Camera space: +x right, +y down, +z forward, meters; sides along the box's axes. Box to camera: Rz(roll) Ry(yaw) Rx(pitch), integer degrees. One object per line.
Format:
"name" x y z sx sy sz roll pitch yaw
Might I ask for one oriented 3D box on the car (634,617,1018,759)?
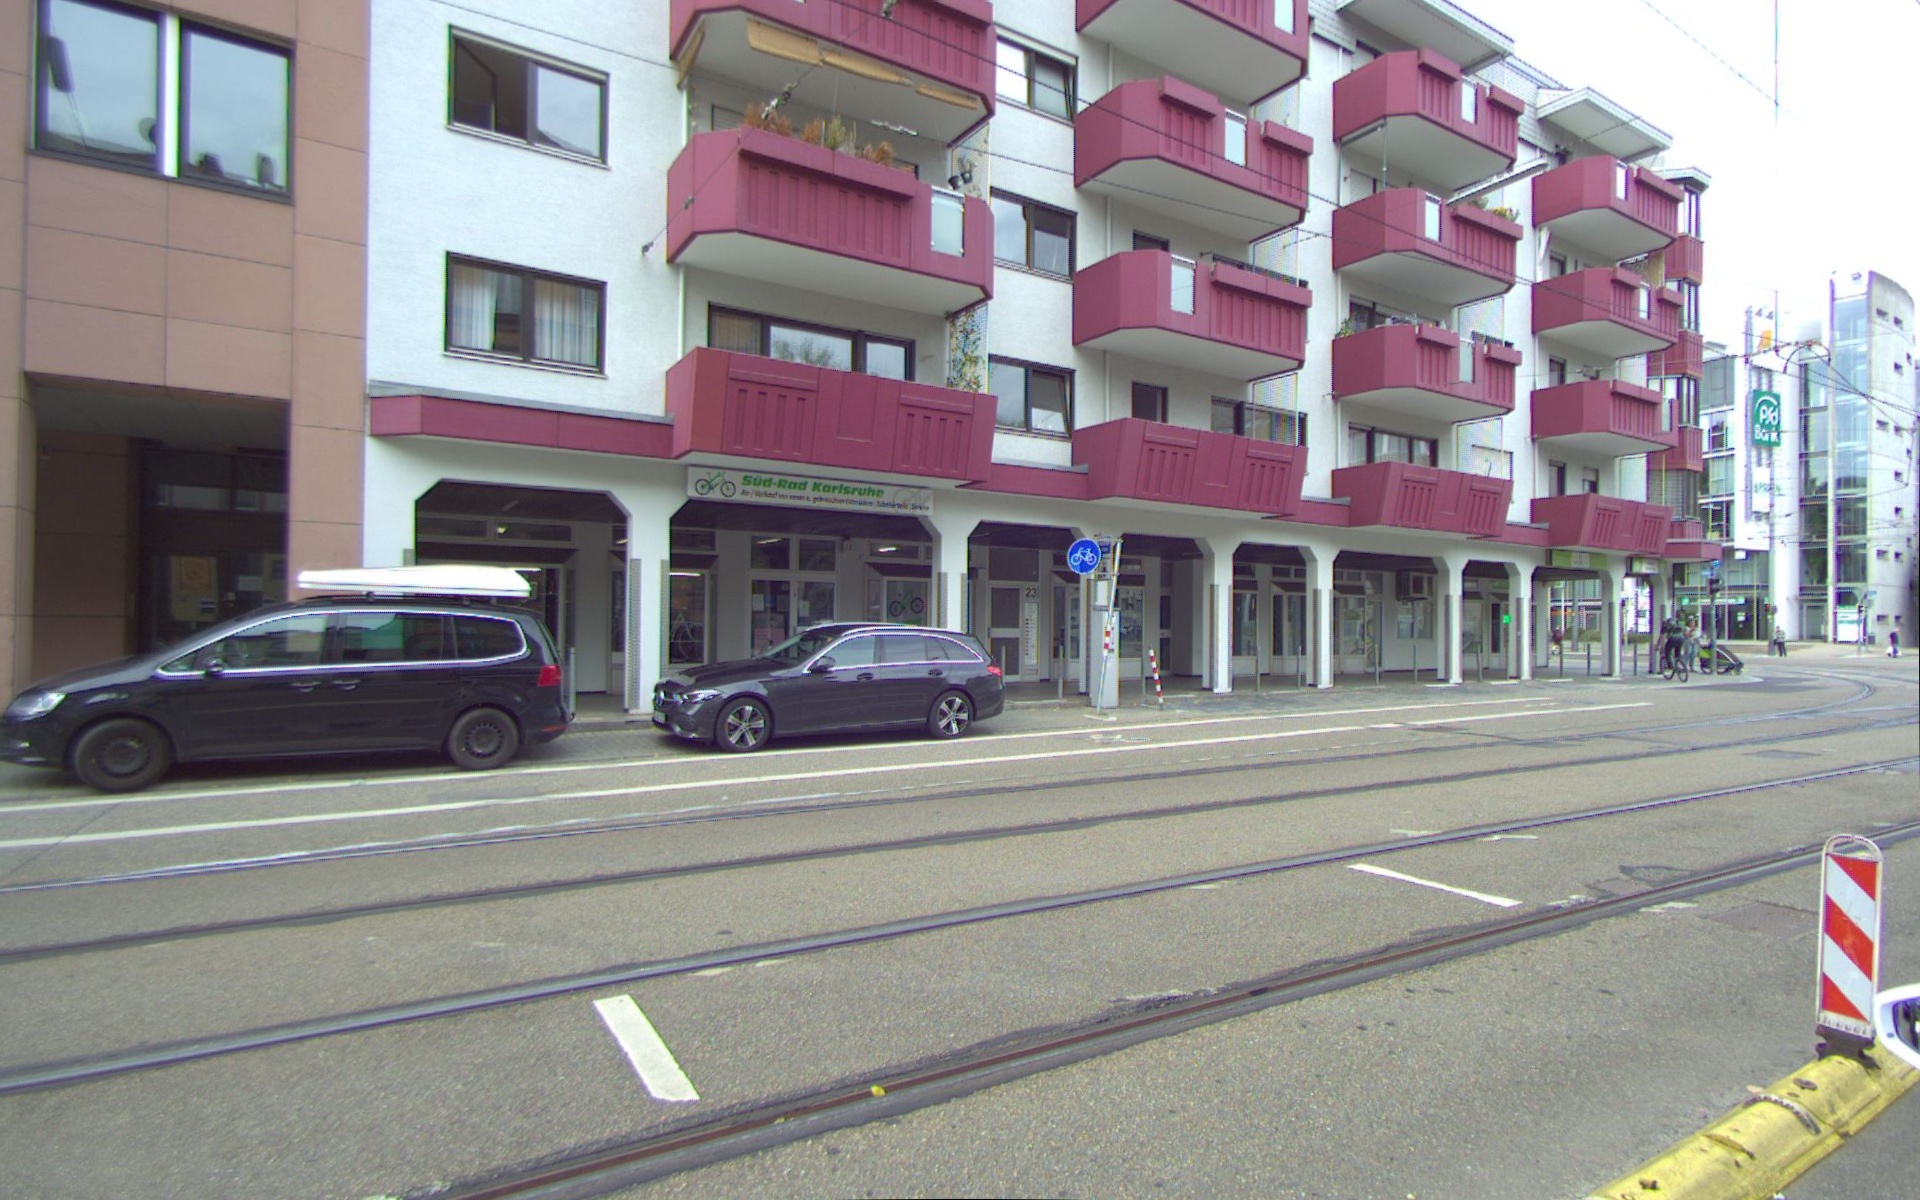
"car" -1.652 1.025 13.048 4.645 1.500 1.745 1 1 -32

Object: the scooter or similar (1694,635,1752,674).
"scooter or similar" 23.904 1.691 31.481 0.936 1.143 1.189 1 0 -32

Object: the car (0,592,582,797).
"car" -6.474 0.814 10.236 4.645 1.669 1.797 1 1 -32

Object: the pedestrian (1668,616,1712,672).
"pedestrian" 23.418 1.392 32.219 0.803 1.766 0.942 1 -1 -33

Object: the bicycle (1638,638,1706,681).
"bicycle" 19.924 1.643 28.165 0.749 1.101 2.363 0 -1 14

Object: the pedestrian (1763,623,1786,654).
"pedestrian" 49.376 2.327 60.906 0.754 1.889 0.833 1 -1 -17

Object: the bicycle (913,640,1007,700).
"bicycle" 0.008 1.192 17.343 1.636 0.966 0.560 1 -1 -39

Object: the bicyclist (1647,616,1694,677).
"bicyclist" 19.934 1.294 28.205 0.737 1.673 1.056 0 -1 14

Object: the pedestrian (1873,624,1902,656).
"pedestrian" 55.626 2.383 60.228 0.889 1.880 0.987 1 -1 -23

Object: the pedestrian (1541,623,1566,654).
"pedestrian" 32.545 2.125 55.115 0.753 1.693 0.935 1 -1 -17
